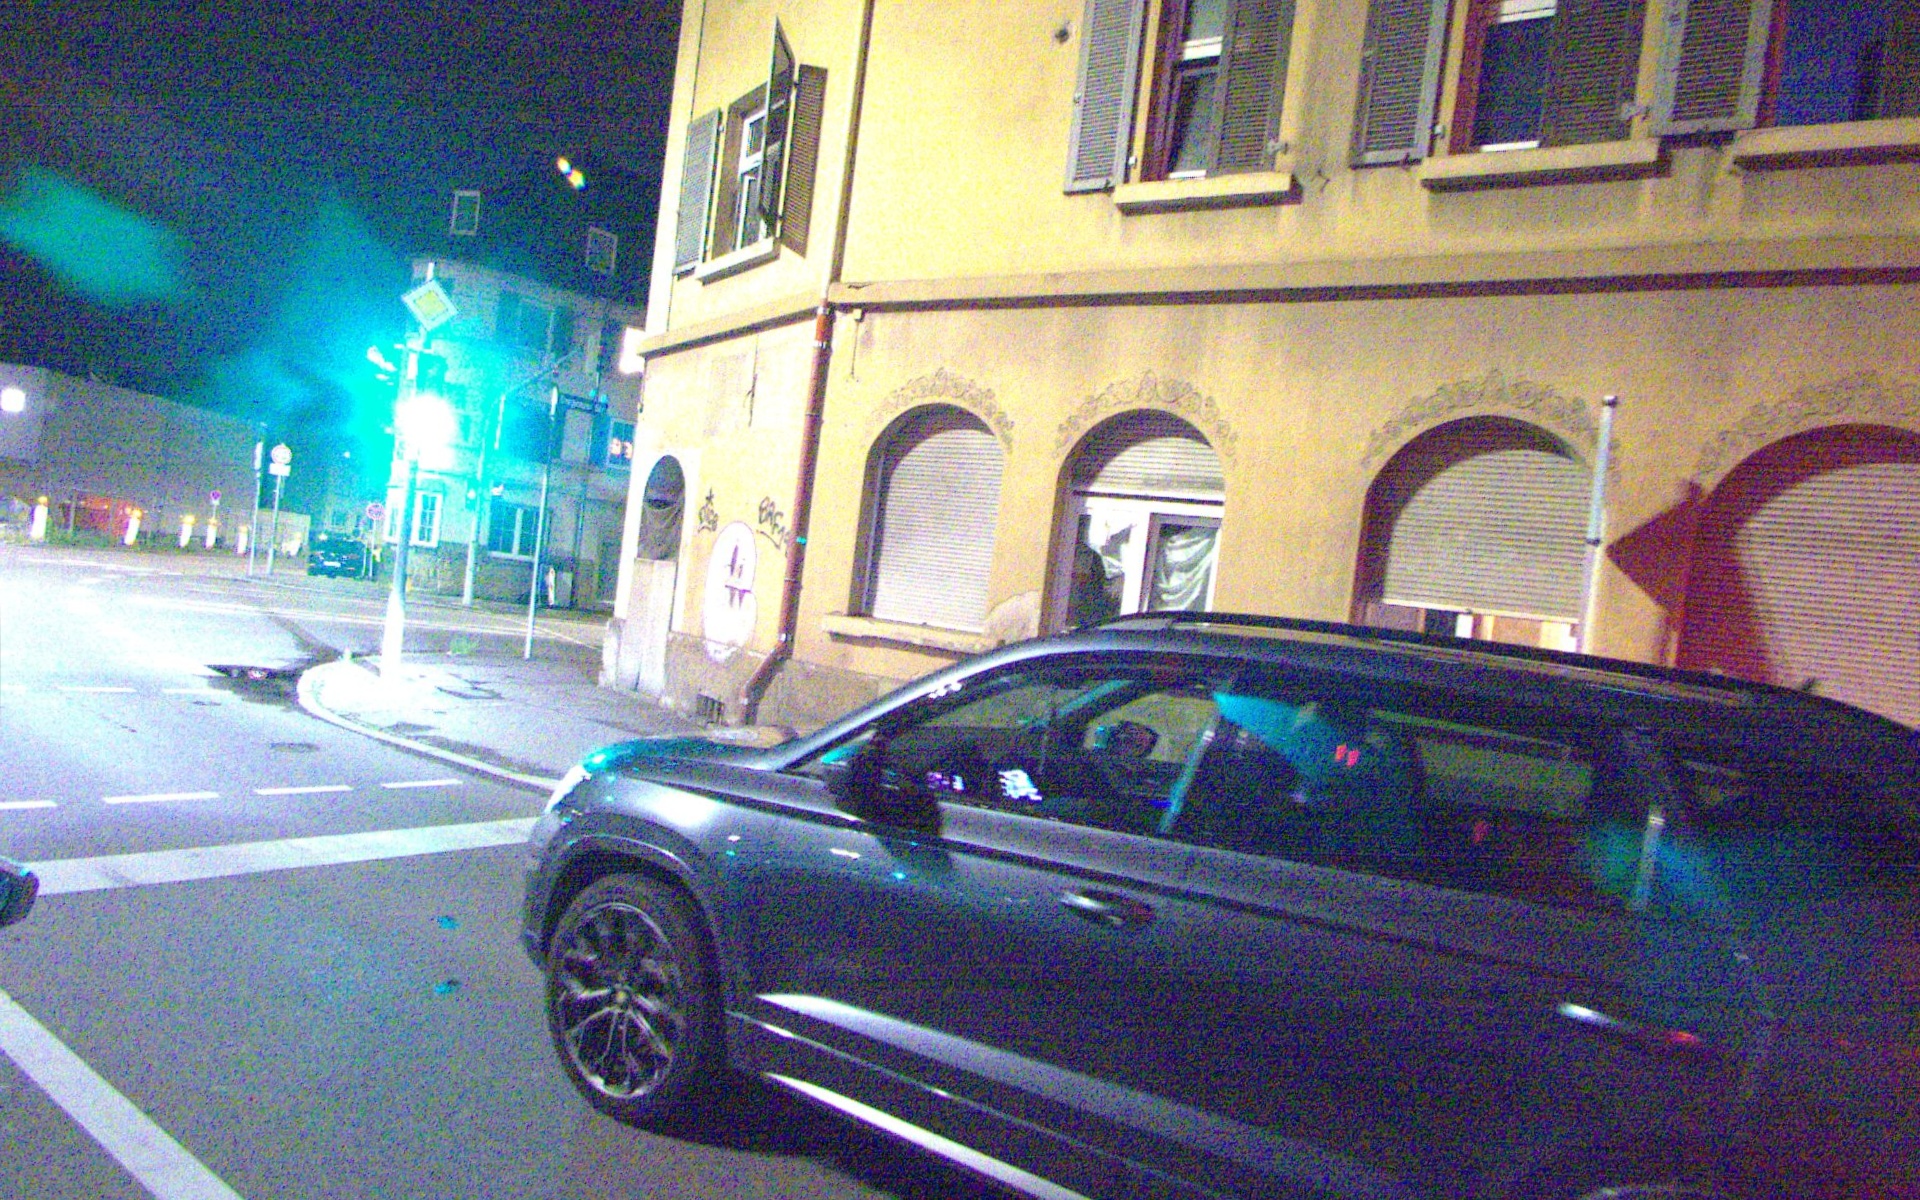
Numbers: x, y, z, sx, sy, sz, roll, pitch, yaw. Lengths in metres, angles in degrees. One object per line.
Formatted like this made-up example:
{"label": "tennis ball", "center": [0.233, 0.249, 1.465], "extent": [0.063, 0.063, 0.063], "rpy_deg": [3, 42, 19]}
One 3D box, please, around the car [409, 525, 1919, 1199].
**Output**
{"label": "car", "center": [0.600, 0.818, 2.811], "extent": [4.157, 1.629, 1.674], "rpy_deg": [5, -1, 29]}

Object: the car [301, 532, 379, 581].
{"label": "car", "center": [-24.378, -1.673, 39.655], "extent": [1.708, 1.631, 3.610], "rpy_deg": [6, -1, -19]}
